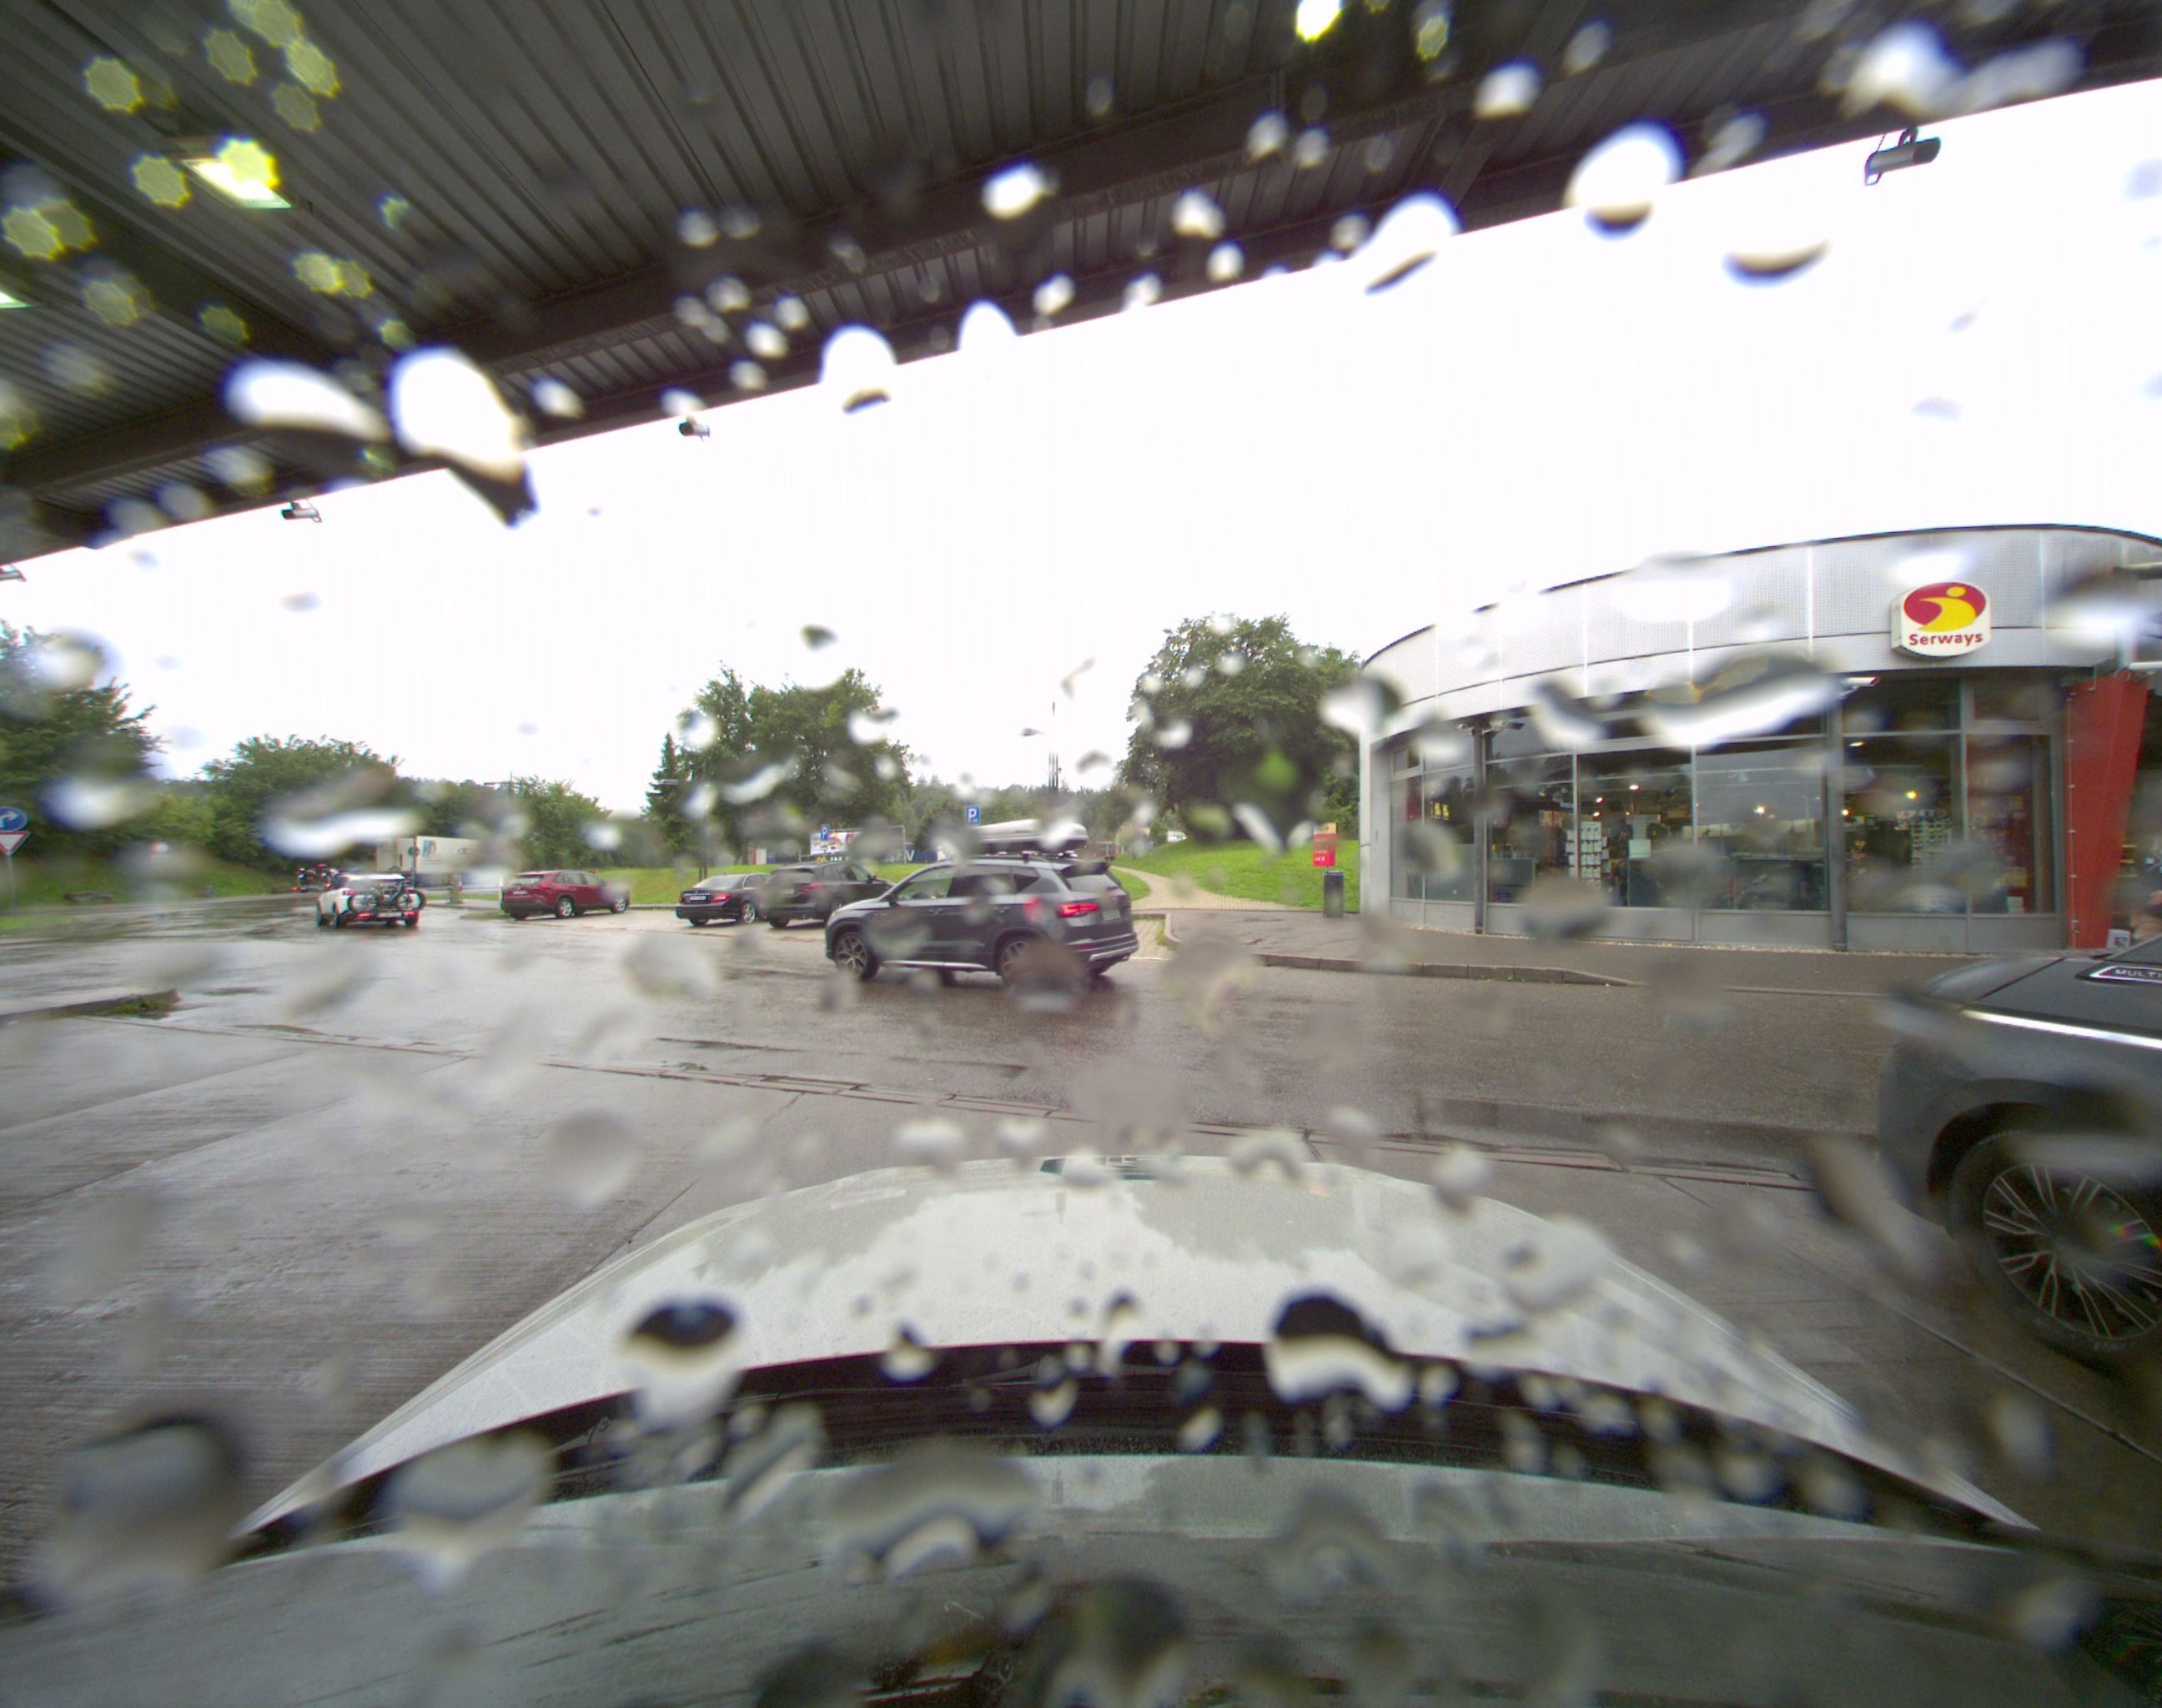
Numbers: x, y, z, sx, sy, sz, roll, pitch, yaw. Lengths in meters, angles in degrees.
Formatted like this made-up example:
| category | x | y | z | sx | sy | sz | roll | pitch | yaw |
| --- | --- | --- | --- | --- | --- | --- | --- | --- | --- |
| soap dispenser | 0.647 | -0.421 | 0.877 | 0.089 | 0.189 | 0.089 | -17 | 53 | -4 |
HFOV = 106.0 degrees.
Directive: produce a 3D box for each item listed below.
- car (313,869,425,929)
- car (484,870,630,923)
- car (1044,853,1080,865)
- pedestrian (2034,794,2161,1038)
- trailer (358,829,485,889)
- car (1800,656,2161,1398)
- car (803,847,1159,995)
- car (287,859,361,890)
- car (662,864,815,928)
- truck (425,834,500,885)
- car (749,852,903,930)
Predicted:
| category | x | y | z | sx | sy | sz | roll | pitch | yaw |
| --- | --- | --- | --- | --- | --- | --- | --- | --- | --- |
| car | -21.335 | 1.256 | 24.317 | 4.940 | 1.565 | 1.831 | -1 | 0 | 41 |
| car | -18.163 | 1.423 | 28.512 | 1.873 | 1.596 | 4.364 | -2 | 0 | 8 |
| car | -3.174 | 0.810 | 134.067 | 5.376 | 2.013 | 2.468 | -1 | 0 | 21 |
| pedestrian | 8.748 | 0.475 | 6.665 | 0.712 | 1.894 | 1.009 | -1 | 0 | 4 |
| trailer | -54.886 | 0.438 | 68.475 | 3.466 | 4.557 | 13.827 | 0 | -1 | -18 |
| car | 3.709 | 0.448 | 1.218 | 1.809 | 1.948 | 4.002 | -1 | 0 | 2 |
| car | -1.344 | 0.732 | 10.639 | 4.271 | 1.587 | 1.902 | -1 | 0 | 28 |
| car | -49.226 | 1.298 | 53.077 | 1.934 | 1.838 | 4.361 | -1 | 0 | -20 |
| car | -9.622 | 1.143 | 23.287 | 1.871 | 1.565 | 4.200 | -2 | 0 | 13 |
| truck | -57.108 | 0.512 | 75.416 | 3.467 | 4.557 | 6.694 | 0 | -1 | -18 |
| car | -6.621 | 0.893 | 21.730 | 1.871 | 1.828 | 4.429 | -2 | 0 | 13 |
